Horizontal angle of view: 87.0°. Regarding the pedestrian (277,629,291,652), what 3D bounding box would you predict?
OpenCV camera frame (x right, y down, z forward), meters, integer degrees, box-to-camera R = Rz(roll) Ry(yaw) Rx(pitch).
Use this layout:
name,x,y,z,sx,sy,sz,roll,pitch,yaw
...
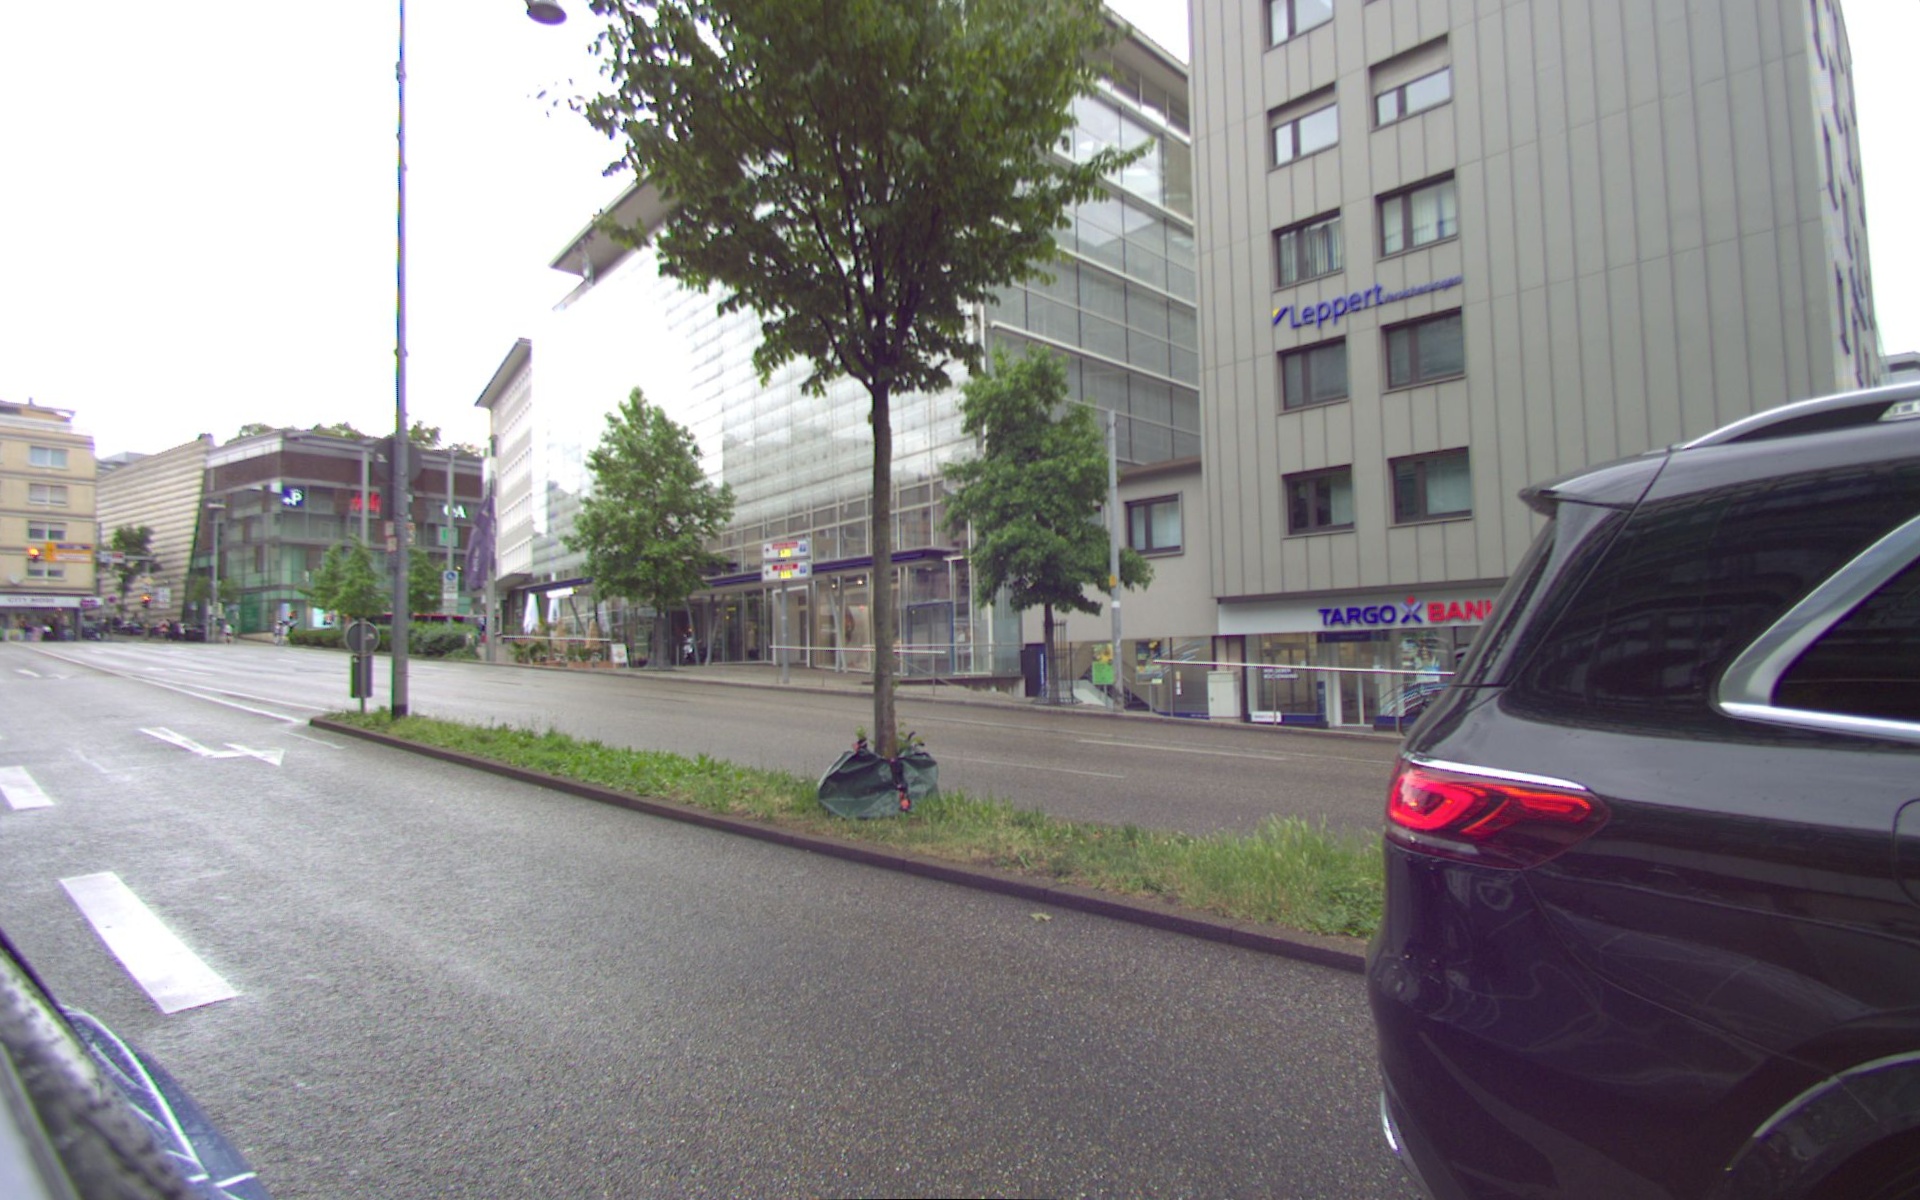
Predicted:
name,x,y,z,sx,sy,sz,roll,pitch,yaw
pedestrian,-47.615,2.861,71.263,0.603,1.642,0.625,-1,-3,44

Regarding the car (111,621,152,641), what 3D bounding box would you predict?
name,x,y,z,sx,sy,sz,roll,pitch,yaw
car,-85.217,3.197,104.045,4.575,2.029,1.977,0,-2,34

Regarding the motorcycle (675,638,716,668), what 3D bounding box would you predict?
name,x,y,z,sx,sy,sz,roll,pitch,yaw
motorcycle,-12.003,2.419,45.971,0.620,1.336,1.685,-1,-3,41

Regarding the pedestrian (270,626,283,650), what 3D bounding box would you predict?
name,x,y,z,sx,sy,sz,roll,pitch,yaw
pedestrian,-48.563,2.691,71.897,0.602,1.642,0.625,-1,-3,42

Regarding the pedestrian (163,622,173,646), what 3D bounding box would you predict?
name,x,y,z,sx,sy,sz,roll,pitch,yaw
pedestrian,-55.700,2.398,71.159,0.602,1.642,0.422,-1,-3,44

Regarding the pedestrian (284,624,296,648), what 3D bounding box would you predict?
name,x,y,z,sx,sy,sz,roll,pitch,yaw
pedestrian,-49.294,2.638,74.510,0.618,1.788,0.689,0,0,-45

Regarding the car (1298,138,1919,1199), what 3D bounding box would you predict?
name,x,y,z,sx,sy,sz,roll,pitch,yaw
car,3.109,0.381,0.808,5.069,1.884,1.892,0,0,40

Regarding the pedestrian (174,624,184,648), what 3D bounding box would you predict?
name,x,y,z,sx,sy,sz,roll,pitch,yaw
pedestrian,-53.692,2.455,69.590,0.603,1.642,0.422,-1,-3,45

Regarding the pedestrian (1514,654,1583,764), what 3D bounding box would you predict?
name,x,y,z,sx,sy,sz,roll,pitch,yaw
pedestrian,9.410,1.708,16.183,0.626,1.649,0.791,0,0,-41

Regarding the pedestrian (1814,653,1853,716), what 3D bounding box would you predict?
name,x,y,z,sx,sy,sz,roll,pitch,yaw
pedestrian,24.732,2.381,28.673,0.724,1.710,0.781,0,-3,34

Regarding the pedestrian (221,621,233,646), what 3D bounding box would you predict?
name,x,y,z,sx,sy,sz,roll,pitch,yaw
pedestrian,-52.575,2.416,72.610,0.617,1.788,0.689,0,0,-43
